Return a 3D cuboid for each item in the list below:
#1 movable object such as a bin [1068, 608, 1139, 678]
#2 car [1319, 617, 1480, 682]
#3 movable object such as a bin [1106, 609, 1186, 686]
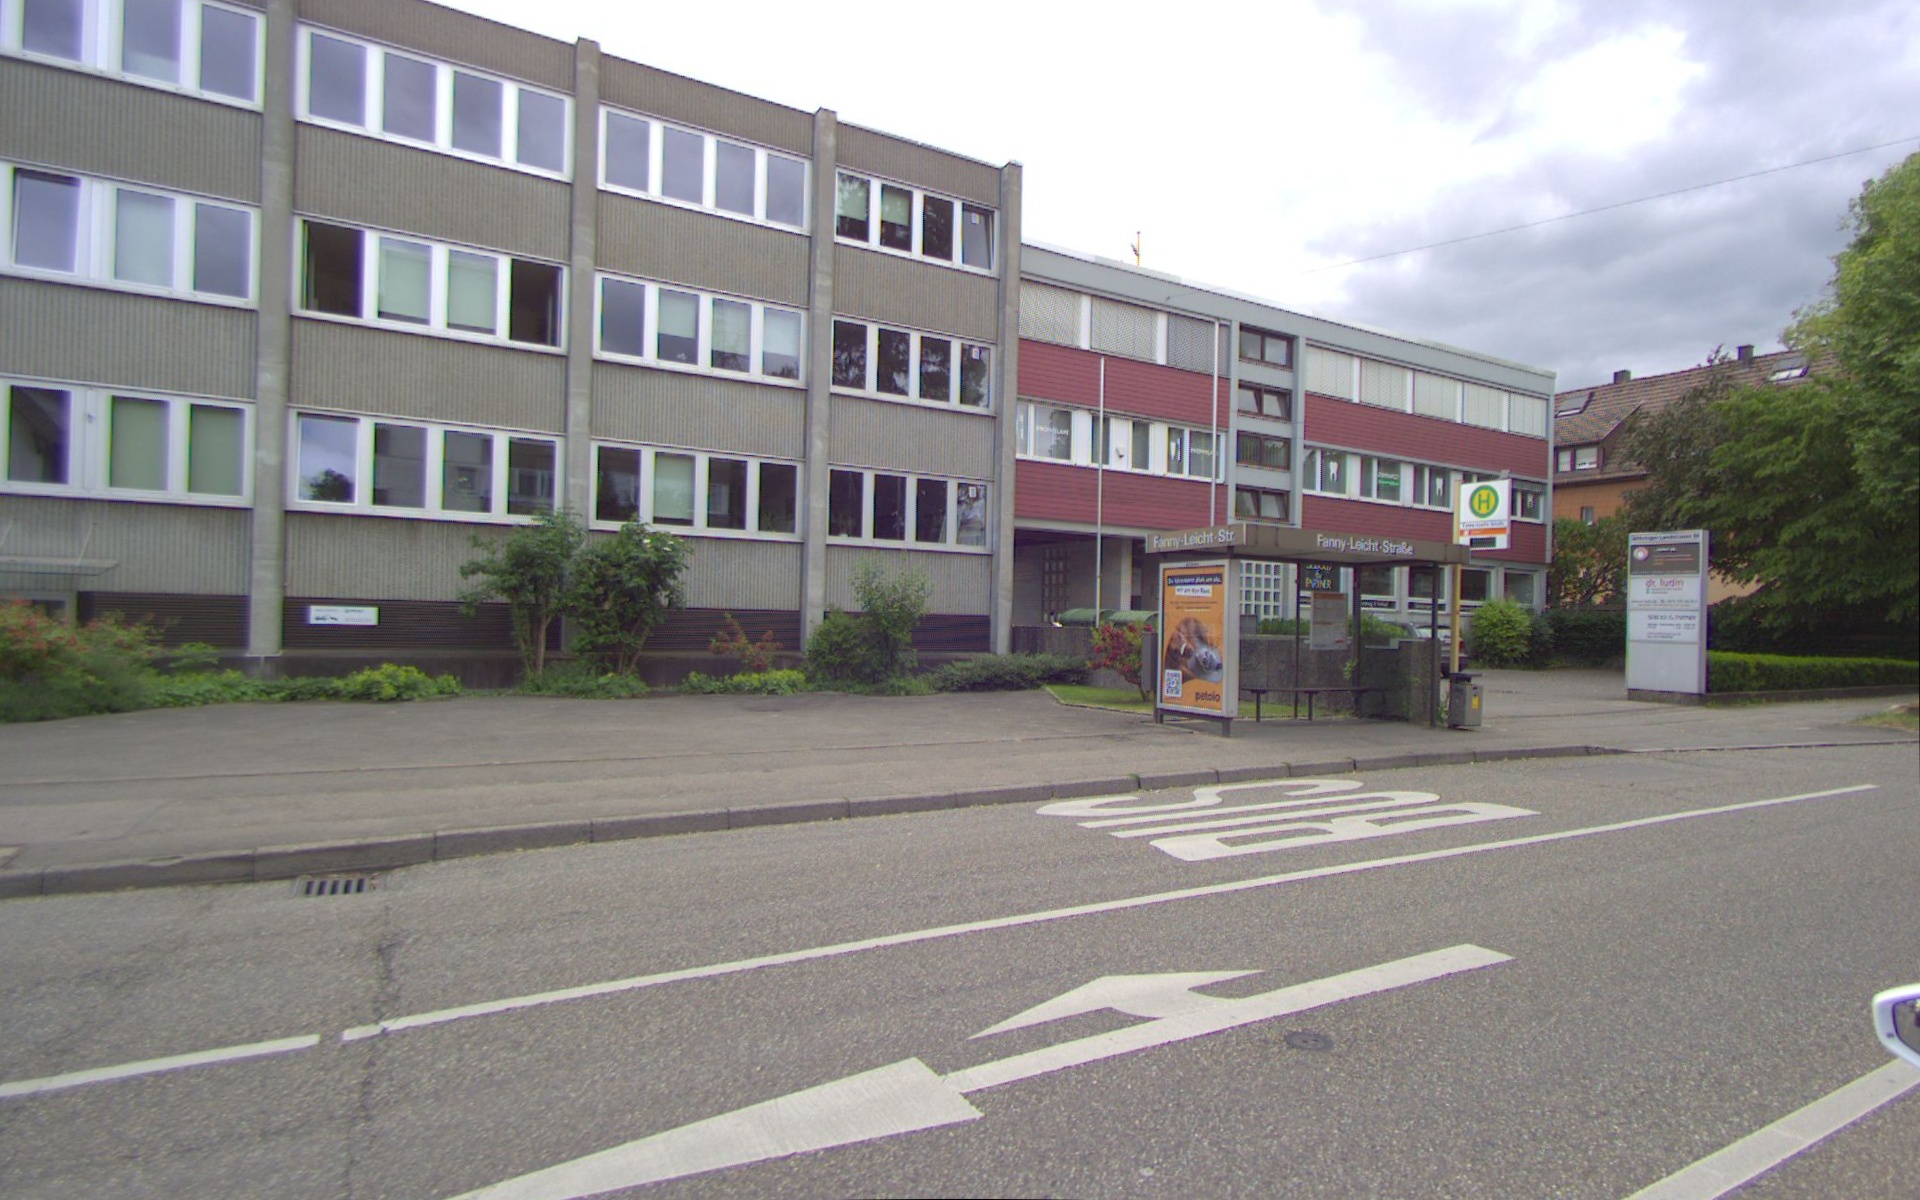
[{"bbox_3d":[3.179,0.938,22.325,0.874,1.484,1.355,2,0,-29],"label":"movable object such as a bin"},{"bbox_3d":[11.757,1.283,27.192,1.782,1.499,4.139,2,0,-14],"label":"car"},{"bbox_3d":[3.831,0.962,20.748,0.981,1.484,1.292,2,0,-29],"label":"movable object such as a bin"}]
